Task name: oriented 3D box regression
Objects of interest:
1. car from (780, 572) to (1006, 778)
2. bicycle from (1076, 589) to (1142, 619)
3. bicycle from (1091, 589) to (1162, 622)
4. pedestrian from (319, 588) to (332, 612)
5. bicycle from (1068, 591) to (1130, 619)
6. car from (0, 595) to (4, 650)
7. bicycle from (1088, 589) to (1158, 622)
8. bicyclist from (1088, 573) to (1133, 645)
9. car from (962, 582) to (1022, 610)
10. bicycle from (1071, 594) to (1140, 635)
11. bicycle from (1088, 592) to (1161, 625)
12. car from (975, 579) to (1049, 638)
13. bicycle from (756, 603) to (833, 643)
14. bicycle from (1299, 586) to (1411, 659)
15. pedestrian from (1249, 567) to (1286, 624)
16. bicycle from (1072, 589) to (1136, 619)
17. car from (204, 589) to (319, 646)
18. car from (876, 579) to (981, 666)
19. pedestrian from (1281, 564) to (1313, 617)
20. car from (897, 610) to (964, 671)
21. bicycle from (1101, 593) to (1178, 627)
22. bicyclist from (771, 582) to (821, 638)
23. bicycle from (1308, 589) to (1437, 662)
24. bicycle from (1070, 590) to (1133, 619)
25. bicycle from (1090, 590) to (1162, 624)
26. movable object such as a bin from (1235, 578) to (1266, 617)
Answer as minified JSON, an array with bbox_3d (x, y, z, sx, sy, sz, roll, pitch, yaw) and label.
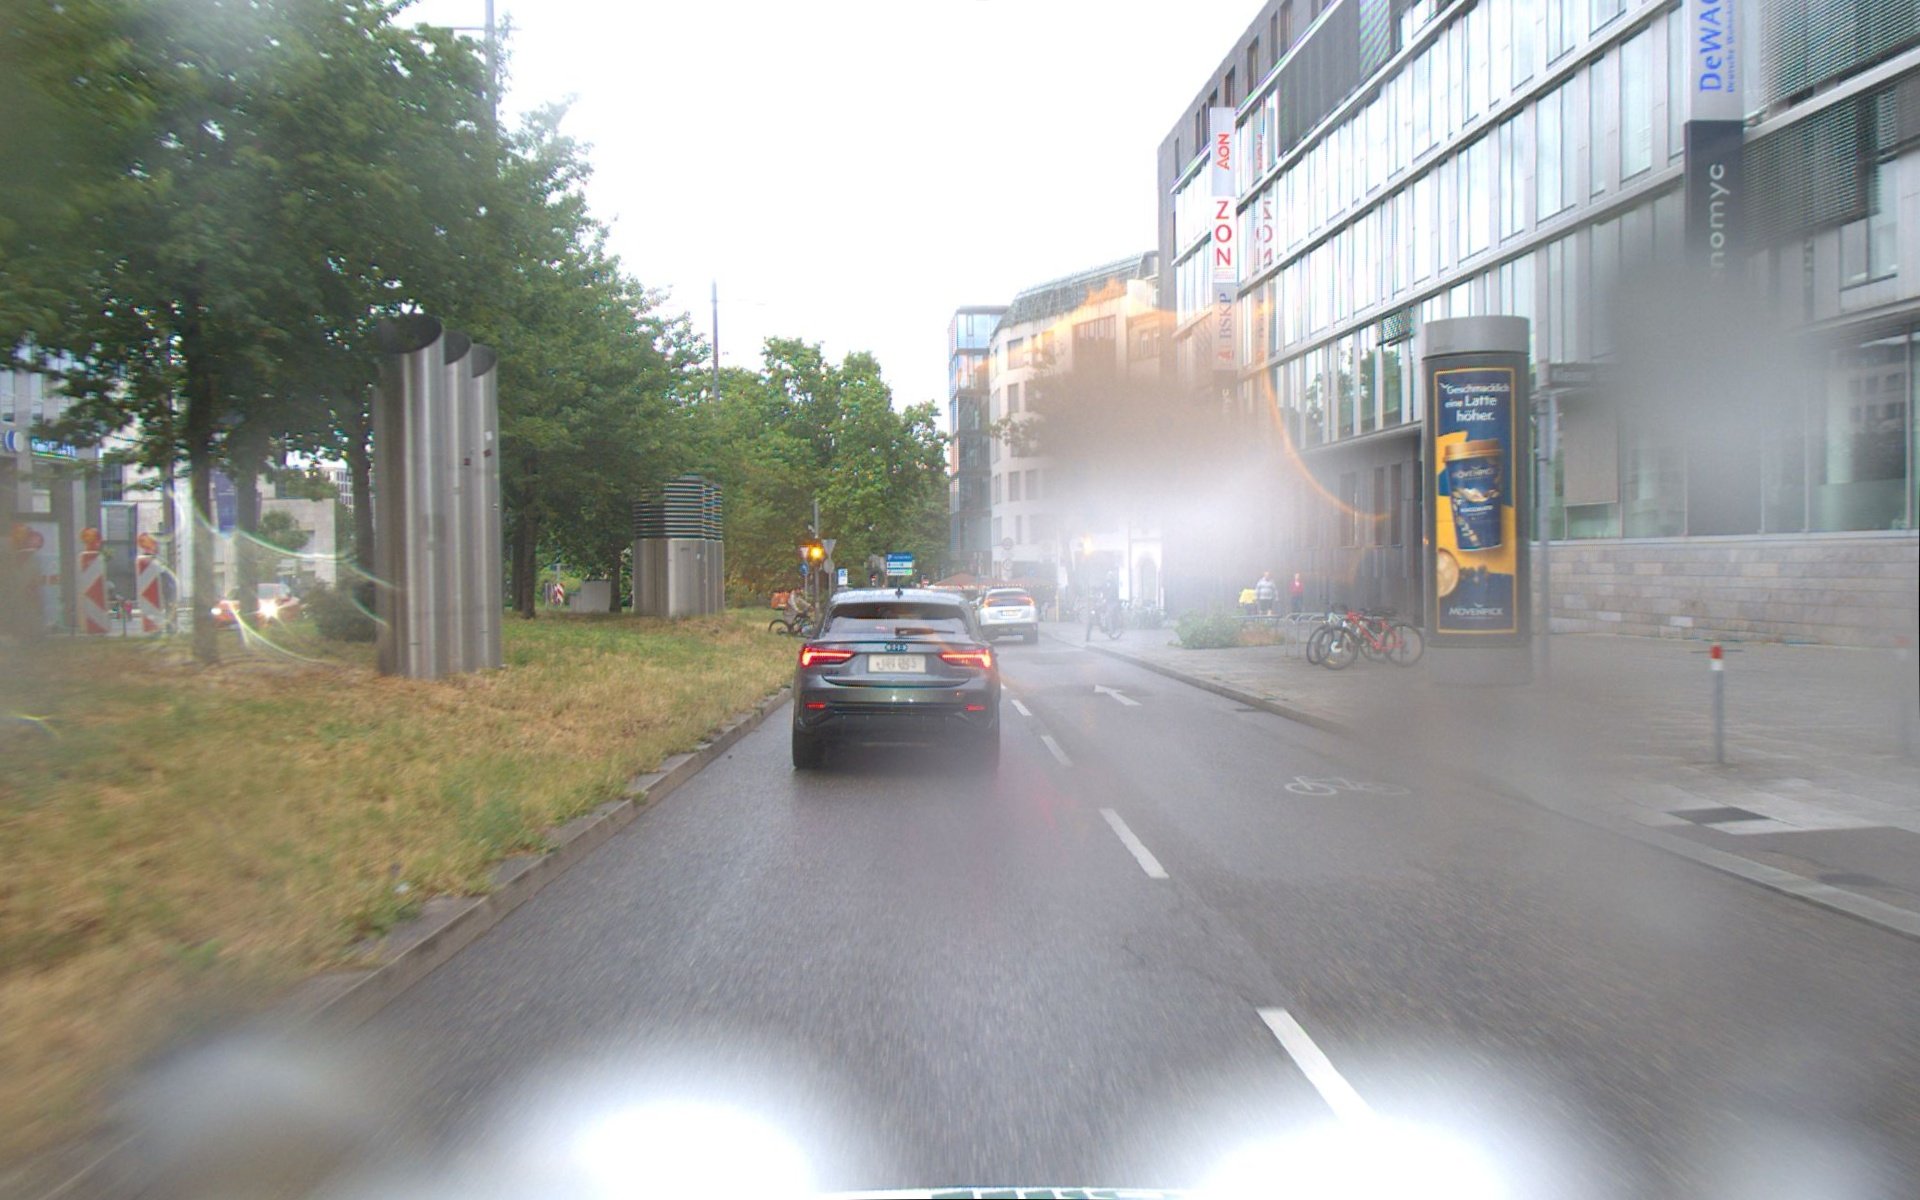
[{"bbox_3d":[-0.514,0.570,15.433,1.810,1.644,4.253,0,1,1],"label":"car"},{"bbox_3d":[5.917,0.171,65.687,2.486,1.106,0.677,-2,0,-4],"label":"bicycle"},{"bbox_3d":[6.038,0.207,60.084,2.486,1.106,0.677,-2,0,-4],"label":"bicycle"},{"bbox_3d":[-54.663,0.035,142.511,0.785,2.049,0.728,1,0,-43],"label":"pedestrian"},{"bbox_3d":[5.781,0.198,68.799,2.486,1.106,0.627,-2,0,-4],"label":"bicycle"},{"bbox_3d":[-25.286,0.627,40.447,1.741,1.426,4.012,-2,1,-5],"label":"car"},{"bbox_3d":[5.991,0.197,60.896,2.486,1.106,0.677,-2,0,-4],"label":"bicycle"},{"bbox_3d":[4.503,0.273,49.499,1.074,2.119,0.753,-1,0,-37],"label":"bicyclist"},{"bbox_3d":[2.270,-0.273,115.721,3.903,1.676,2.002,3,0,7],"label":"car"},{"bbox_3d":[4.348,0.434,49.372,2.111,1.165,0.753,-2,0,-38],"label":"bicycle"},{"bbox_3d":[5.766,0.297,58.006,2.486,1.106,0.677,1,0,-4],"label":"bicycle"},{"bbox_3d":[1.563,0.245,51.142,2.134,1.730,4.000,-1,0,0],"label":"car"},{"bbox_3d":[-4.915,0.676,49.056,2.018,1.133,1.012,2,0,20],"label":"bicycle"},{"bbox_3d":[7.019,0.398,29.443,1.797,1.218,0.661,-2,0,4],"label":"bicycle"},{"bbox_3d":[10.349,-0.158,55.656,0.882,1.823,1.046,-3,0,-5],"label":"pedestrian"},{"bbox_3d":[5.846,0.159,67.329,2.486,1.106,0.677,-2,0,-4],"label":"bicycle"},{"bbox_3d":[-19.517,0.456,46.382,1.826,1.454,4.126,-2,1,-7],"label":"car"},{"bbox_3d":[-0.753,0.446,35.955,2.119,1.735,4.551,-1,0,-3],"label":"car"},{"bbox_3d":[11.363,-0.307,55.752,0.704,1.719,1.099,-3,0,-5],"label":"pedestrian"},{"bbox_3d":[-0.848,1.186,49.795,1.905,1.675,4.245,-1,0,0],"label":"car"},{"bbox_3d":[6.042,0.326,55.722,2.486,1.075,0.677,-2,0,-4],"label":"bicycle"},{"bbox_3d":[-4.855,0.288,49.037,1.109,1.610,1.015,1,0,20],"label":"bicyclist"},{"bbox_3d":[6.868,0.413,27.591,1.942,1.123,0.809,-2,0,4],"label":"bicycle"},{"bbox_3d":[5.808,0.190,68.077,2.486,1.106,0.677,-2,0,-4],"label":"bicycle"},{"bbox_3d":[5.933,0.244,59.230,2.486,1.106,0.677,-2,0,-4],"label":"bicycle"},{"bbox_3d":[9.997,-0.086,56.985,0.716,1.286,1.444,-3,0,-2],"label":"movable object such as a bin"}]
